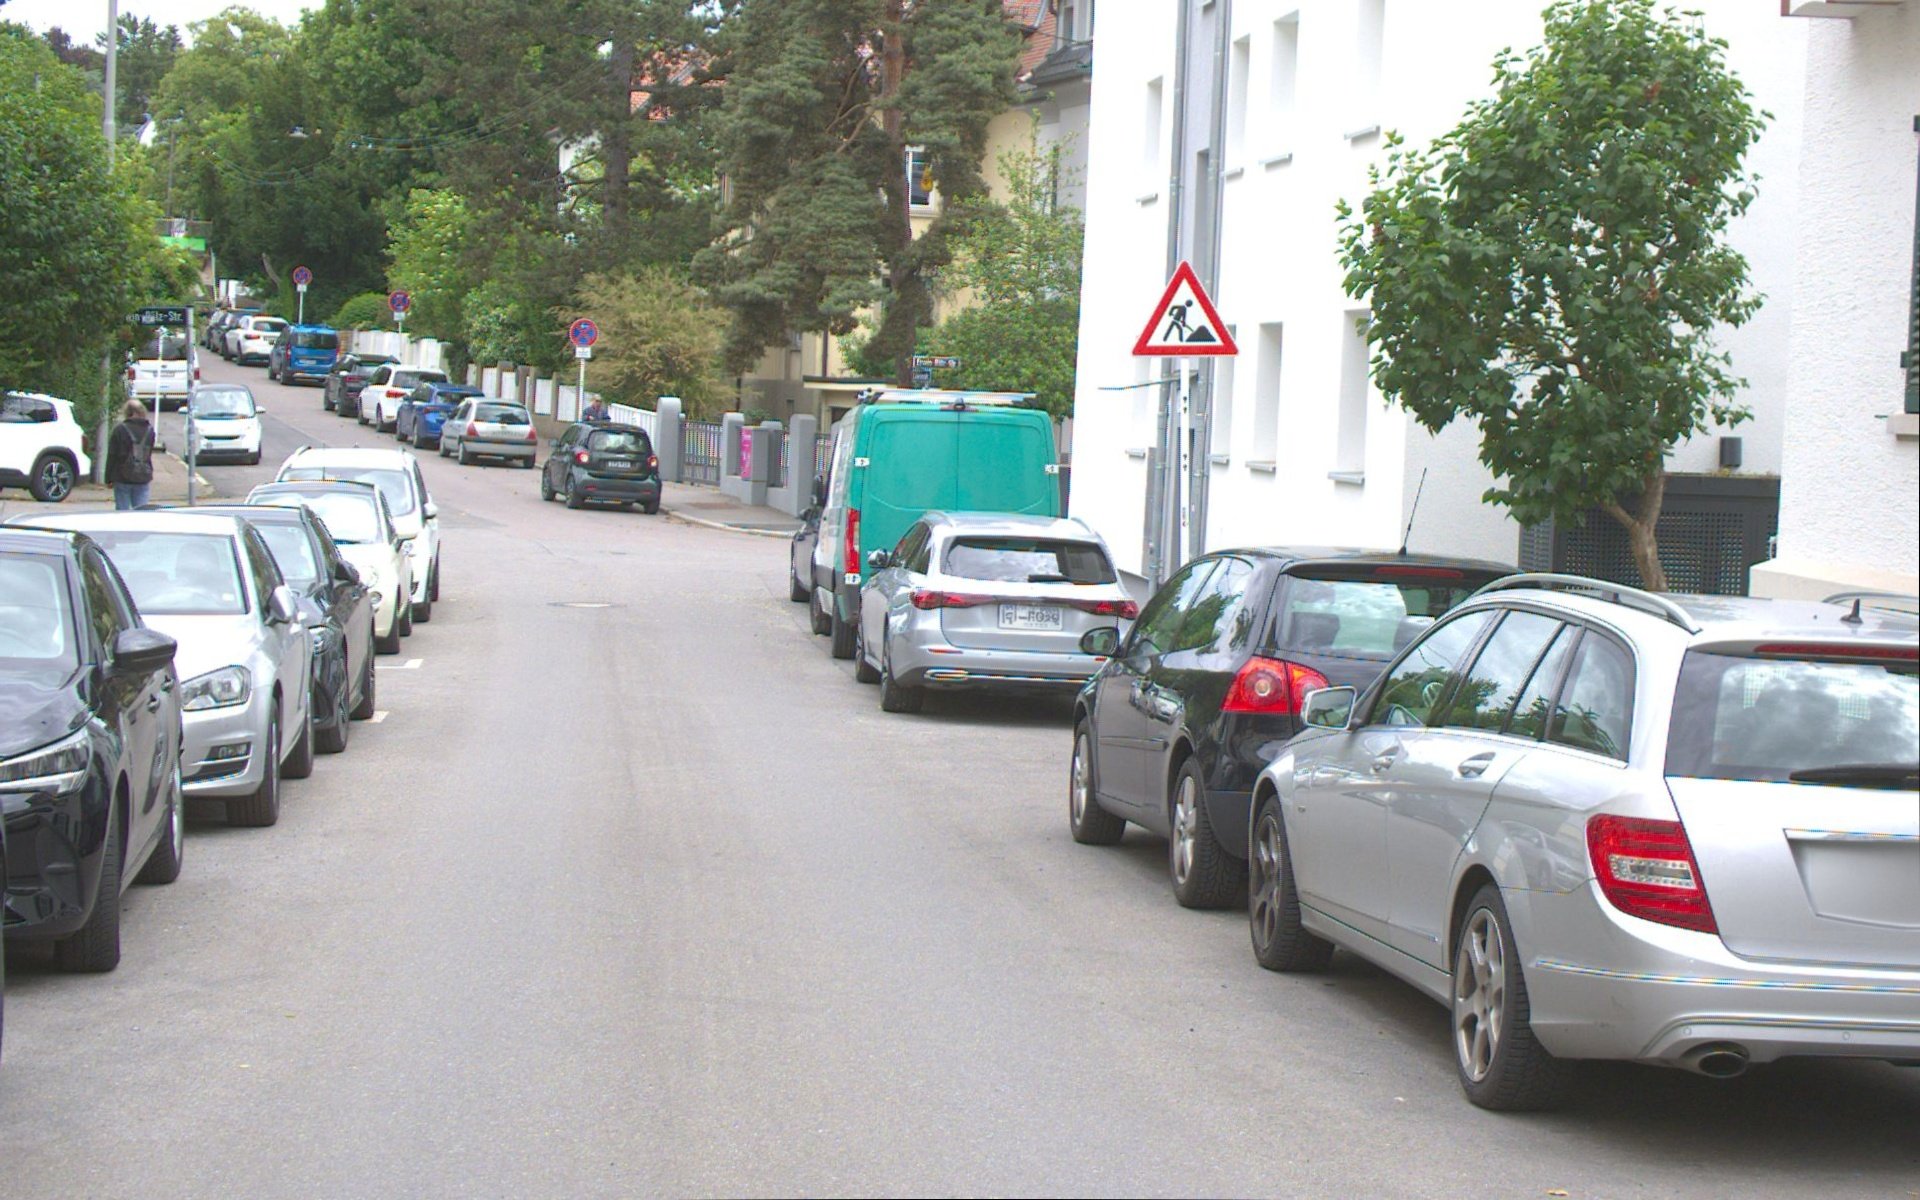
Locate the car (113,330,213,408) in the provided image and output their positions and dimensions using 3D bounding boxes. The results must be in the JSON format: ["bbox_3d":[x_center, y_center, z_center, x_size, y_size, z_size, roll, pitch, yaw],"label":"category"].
[{"bbox_3d":[-20.544,-5.975,88.459,1.903,1.870,4.597,0,5,-21],"label":"car"}]

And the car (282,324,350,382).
[{"bbox_3d":[-19.399,-7.438,103.469,1.633,1.532,3.532,3,5,-15],"label":"car"}]

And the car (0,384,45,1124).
[{"bbox_3d":[-3.013,0.397,6.841,1.844,1.809,4.546,1,1,-9],"label":"car"}]

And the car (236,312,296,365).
[{"bbox_3d":[-22.898,-8.641,113.400,1.633,1.532,3.532,3,5,-15],"label":"car"}]

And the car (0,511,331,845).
[{"bbox_3d":[-4.055,0.295,16.957,1.642,1.412,3.985,1,2,-7],"label":"car"}]

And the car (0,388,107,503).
[{"bbox_3d":[-15.265,-2.381,51.063,1.998,1.634,4.802,5,2,36],"label":"car"}]

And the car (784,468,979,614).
[{"bbox_3d":[-0.933,-0.698,38.537,1.724,1.443,3.882,2,2,-7],"label":"car"}]

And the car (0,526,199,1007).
[{"bbox_3d":[-3.666,0.452,12.074,1.642,1.383,3.861,1,2,-8],"label":"car"}]

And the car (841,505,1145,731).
[{"bbox_3d":[0.170,0.075,25.992,1.724,1.443,3.882,2,2,-7],"label":"car"}]

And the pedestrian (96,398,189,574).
[{"bbox_3d":[-9.251,-1.295,38.932,0.791,1.926,0.919,3,2,-4],"label":"pedestrian"}]

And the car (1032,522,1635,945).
[{"bbox_3d":[1.482,0.476,15.120,1.689,1.514,3.882,3,1,-7],"label":"car"}]

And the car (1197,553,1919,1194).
[{"bbox_3d":[2.100,0.661,10.561,1.818,1.437,4.452,3,1,-7],"label":"car"}]

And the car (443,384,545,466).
[{"bbox_3d":[-10.004,-3.763,73.643,1.633,1.478,3.532,3,5,-15],"label":"car"}]

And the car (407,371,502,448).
[{"bbox_3d":[-11.482,-4.333,77.981,1.633,1.478,3.532,3,5,-15],"label":"car"}]

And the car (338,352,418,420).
[{"bbox_3d":[-15.228,-5.619,89.877,1.633,1.532,3.532,3,5,-15],"label":"car"}]

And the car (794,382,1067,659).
[{"bbox_3d":[-0.357,-0.797,32.317,1.980,2.354,4.278,2,2,-7],"label":"car"}]

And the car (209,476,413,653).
[{"bbox_3d":[-5.856,-0.368,31.332,1.596,1.408,3.664,1,3,-7],"label":"car"}]

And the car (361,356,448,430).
[{"bbox_3d":[-13.561,-5.060,83.811,1.633,1.532,3.532,3,5,-15],"label":"car"}]

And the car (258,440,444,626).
[{"bbox_3d":[-6.221,-0.740,35.421,1.672,1.651,3.865,1,4,-7],"label":"car"}]

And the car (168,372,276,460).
[{"bbox_3d":[-15.140,-3.791,70.408,1.672,1.651,3.865,0,5,-19],"label":"car"}]

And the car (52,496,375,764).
[{"bbox_3d":[-4.527,0.115,21.290,1.596,1.473,3.992,1,2,-7],"label":"car"}]

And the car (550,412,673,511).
[{"bbox_3d":[-6.334,-2.532,62.225,1.633,1.478,3.532,3,5,-14],"label":"car"}]
